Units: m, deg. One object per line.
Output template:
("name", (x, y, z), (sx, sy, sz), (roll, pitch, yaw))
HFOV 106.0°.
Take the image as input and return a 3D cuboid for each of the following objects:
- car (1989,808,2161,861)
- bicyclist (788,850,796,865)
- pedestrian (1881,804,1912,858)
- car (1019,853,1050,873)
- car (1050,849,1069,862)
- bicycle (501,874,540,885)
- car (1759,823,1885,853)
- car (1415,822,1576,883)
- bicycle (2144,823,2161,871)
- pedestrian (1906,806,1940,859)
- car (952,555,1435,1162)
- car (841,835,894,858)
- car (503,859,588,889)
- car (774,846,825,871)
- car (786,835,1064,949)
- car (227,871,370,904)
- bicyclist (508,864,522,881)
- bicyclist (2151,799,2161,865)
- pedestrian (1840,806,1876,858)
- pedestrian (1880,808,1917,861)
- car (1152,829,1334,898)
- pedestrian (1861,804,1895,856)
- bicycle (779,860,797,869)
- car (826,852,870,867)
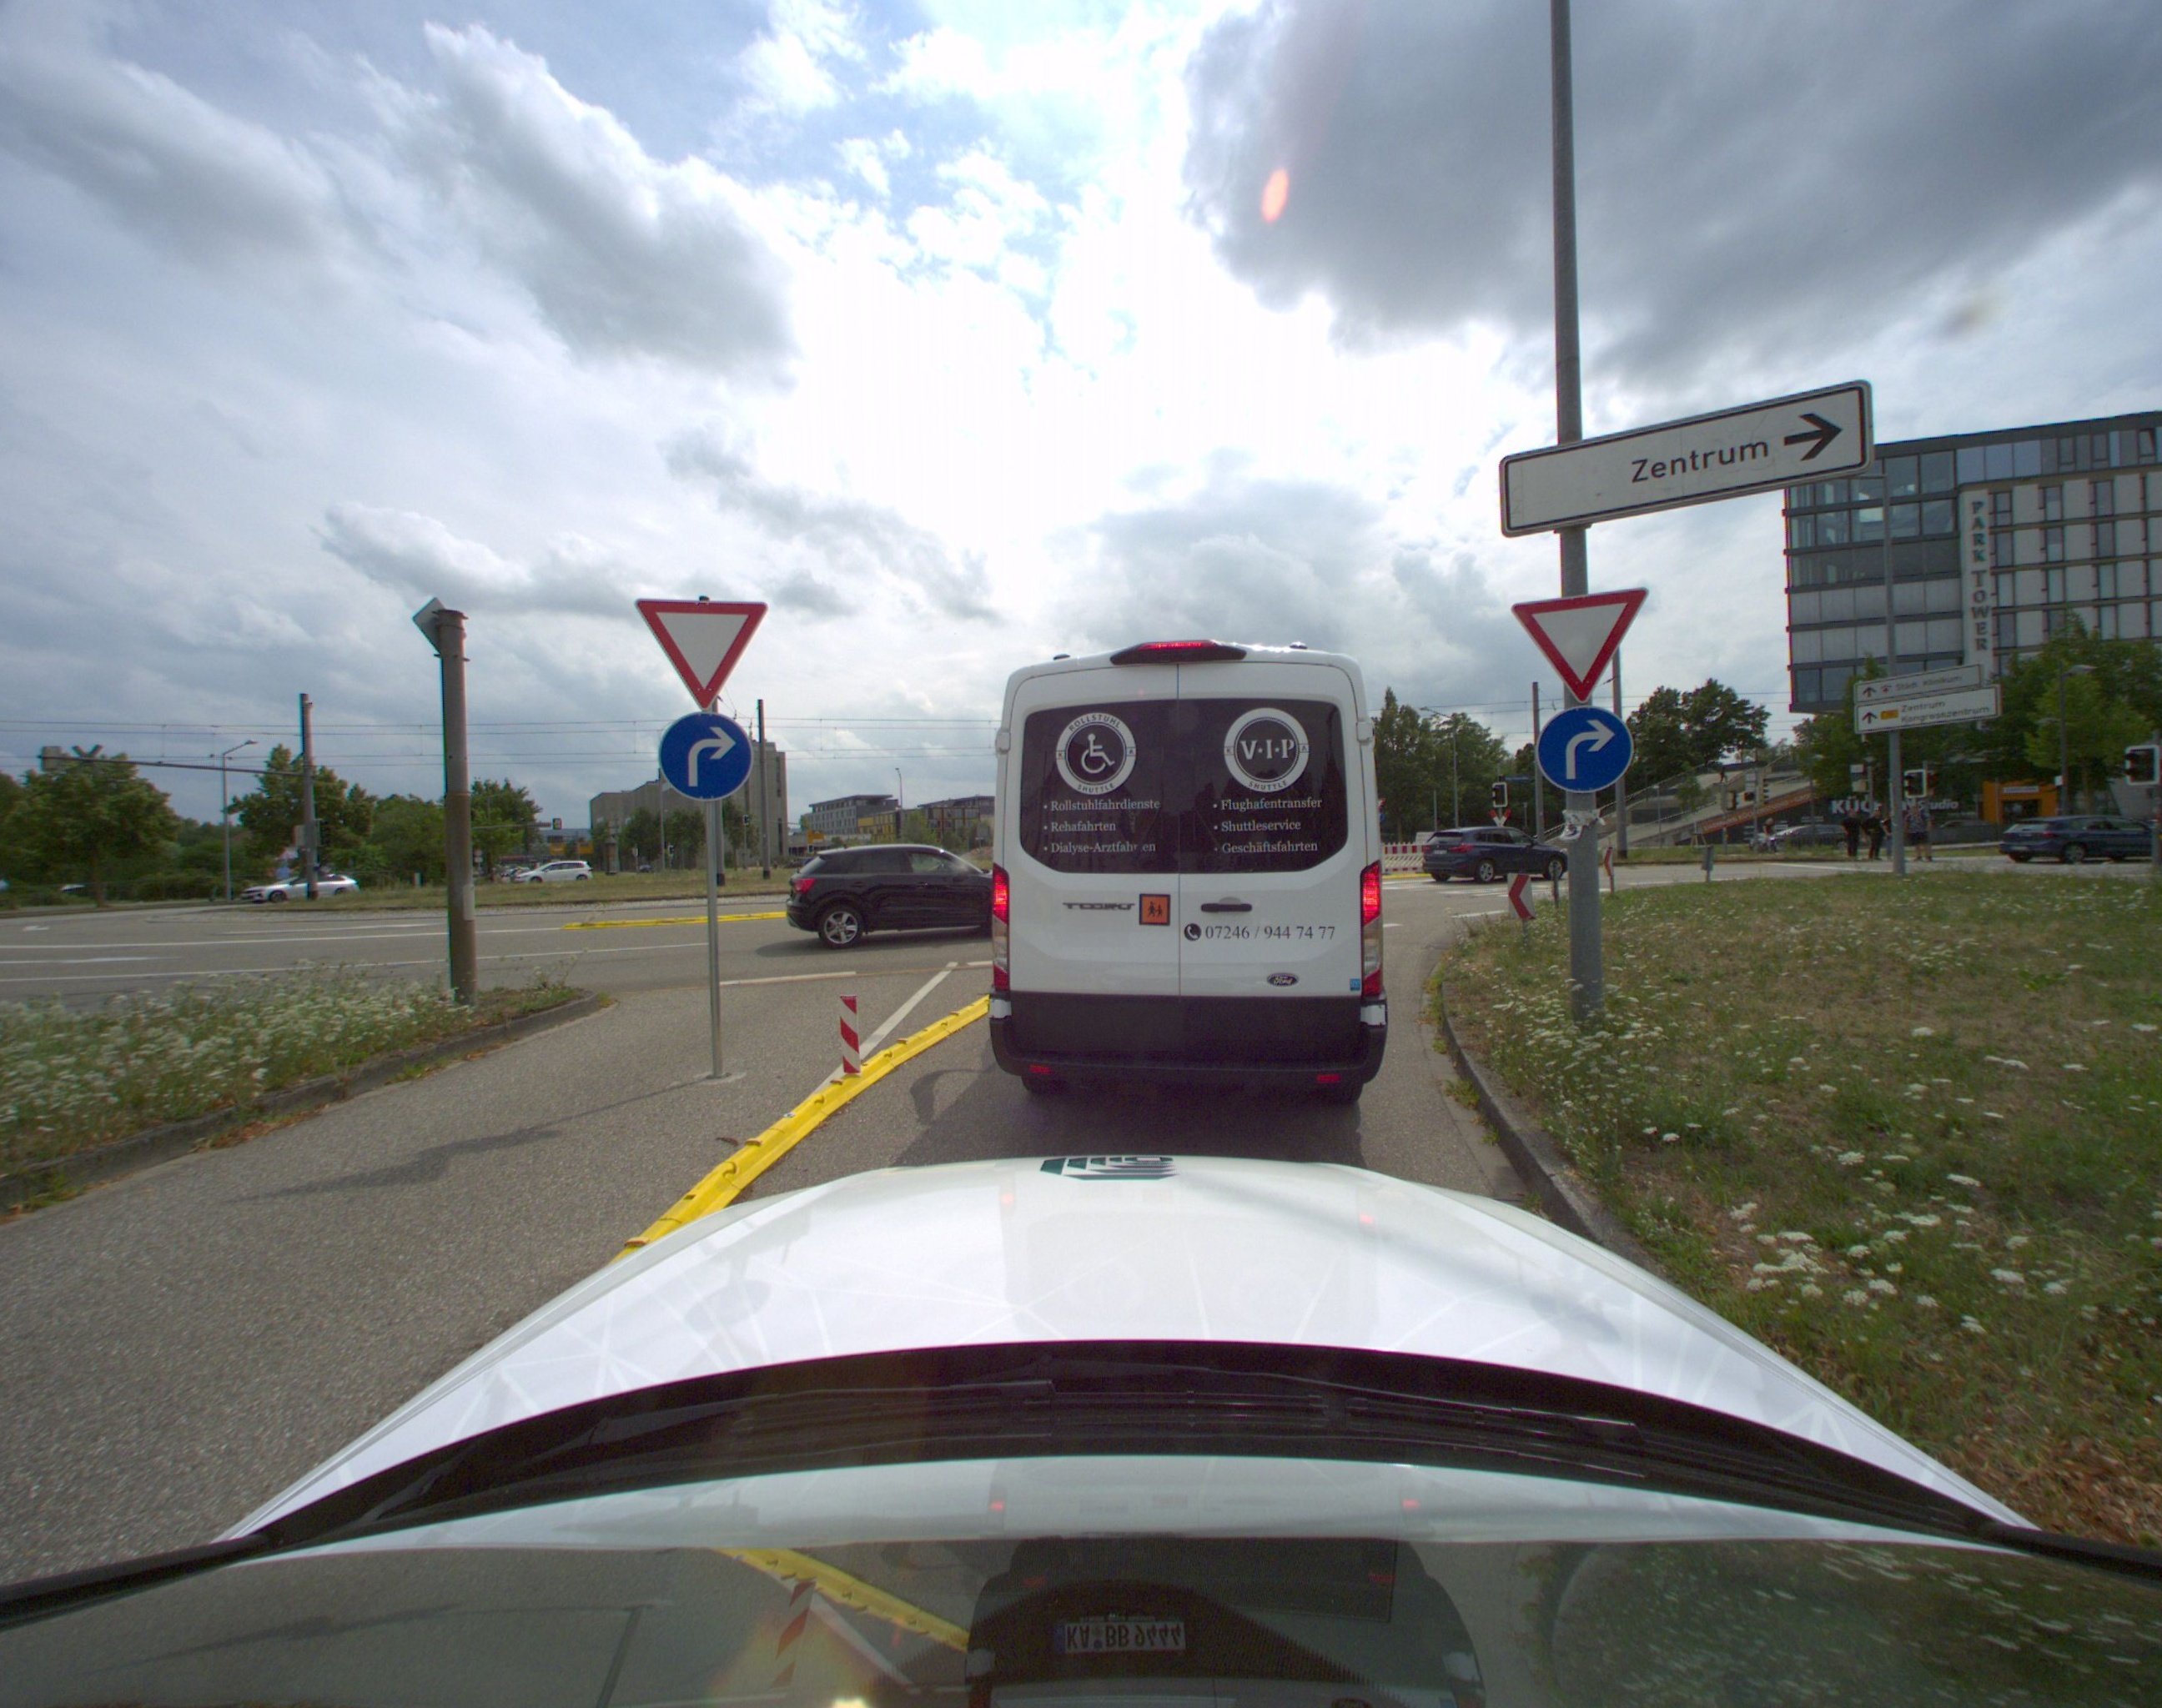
("car", (31.230, -0.601, 25.124), (4.078, 1.497, 1.807), (-2, 1, 10))
("bicyclist", (-30.735, 0.365, 86.607), (0.650, 1.558, 0.527), (-2, 0, -19))
("pedestrian", (28.586, -0.794, 28.562), (0.527, 1.862, 0.554), (-2, 1, 6))
("car", (-4.730, 0.951, 83.694), (1.978, 2.014, 4.016), (-1, -1, 16))
("car", (-2.589, 0.142, 97.985), (1.819, 1.463, 4.005), (-2, 0, 4))
("bicycle", (-49.385, 2.261, 71.734), (0.853, 0.855, 2.676), (-2, 1, 36))
("car", (39.627, -0.860, 43.681), (4.689, 1.458, 1.855), (-2, 1, 13))
("car", (11.919, -0.077, 23.391), (4.377, 1.534, 1.719), (-2, 1, -24))
("bicycle", (26.831, -0.186, 19.786), (0.781, 1.168, 2.054), (-2, 0, 40))
("pedestrian", (28.764, -0.718, 27.815), (0.575, 1.781, 0.554), (-2, 1, 6))
("car", (0.860, 0.026, 6.535), (2.114, 2.697, 5.644), (-2, 0, 8))
("car", (-19.999, -0.706, 76.332), (4.323, 2.014, 2.005), (-1, -1, 8))
("car", (-36.396, 1.349, 55.412), (1.914, 1.665, 4.383), (-2, 2, 42))
("car", (-24.707, 0.409, 71.507), (3.950, 2.014, 2.012), (-1, -1, 25))
("car", (-2.529, 0.525, 13.169), (4.147, 1.519, 1.730), (-2, 1, -20))
("car", (-42.353, 1.767, 44.254), (1.976, 1.482, 5.213), (-2, 1, 24))
("bicyclist", (-49.641, 1.622, 71.432), (0.853, 1.409, 0.678), (-2, 0, 36))
("bicyclist", (26.766, -0.545, 19.720), (0.781, 1.627, 1.056), (-2, 0, 41))
("pedestrian", (27.304, -0.765, 28.622), (0.684, 1.781, 0.554), (-2, 1, 6))
("pedestrian", (27.967, -0.671, 27.881), (0.684, 1.781, 0.554), (-2, 1, 6))
("car", (4.018, 0.184, 19.976), (4.276, 1.462, 1.812), (-2, 1, -33))
("pedestrian", (27.968, -0.846, 28.578), (0.628, 1.781, 0.554), (-2, 1, 6))
("bicycle", (-31.102, 1.128, 86.475), (1.834, 0.877, 0.527), (-2, 0, -19))
("car", (-23.260, 0.561, 81.375), (3.952, 1.463, 1.843), (-1, -1, 23))
